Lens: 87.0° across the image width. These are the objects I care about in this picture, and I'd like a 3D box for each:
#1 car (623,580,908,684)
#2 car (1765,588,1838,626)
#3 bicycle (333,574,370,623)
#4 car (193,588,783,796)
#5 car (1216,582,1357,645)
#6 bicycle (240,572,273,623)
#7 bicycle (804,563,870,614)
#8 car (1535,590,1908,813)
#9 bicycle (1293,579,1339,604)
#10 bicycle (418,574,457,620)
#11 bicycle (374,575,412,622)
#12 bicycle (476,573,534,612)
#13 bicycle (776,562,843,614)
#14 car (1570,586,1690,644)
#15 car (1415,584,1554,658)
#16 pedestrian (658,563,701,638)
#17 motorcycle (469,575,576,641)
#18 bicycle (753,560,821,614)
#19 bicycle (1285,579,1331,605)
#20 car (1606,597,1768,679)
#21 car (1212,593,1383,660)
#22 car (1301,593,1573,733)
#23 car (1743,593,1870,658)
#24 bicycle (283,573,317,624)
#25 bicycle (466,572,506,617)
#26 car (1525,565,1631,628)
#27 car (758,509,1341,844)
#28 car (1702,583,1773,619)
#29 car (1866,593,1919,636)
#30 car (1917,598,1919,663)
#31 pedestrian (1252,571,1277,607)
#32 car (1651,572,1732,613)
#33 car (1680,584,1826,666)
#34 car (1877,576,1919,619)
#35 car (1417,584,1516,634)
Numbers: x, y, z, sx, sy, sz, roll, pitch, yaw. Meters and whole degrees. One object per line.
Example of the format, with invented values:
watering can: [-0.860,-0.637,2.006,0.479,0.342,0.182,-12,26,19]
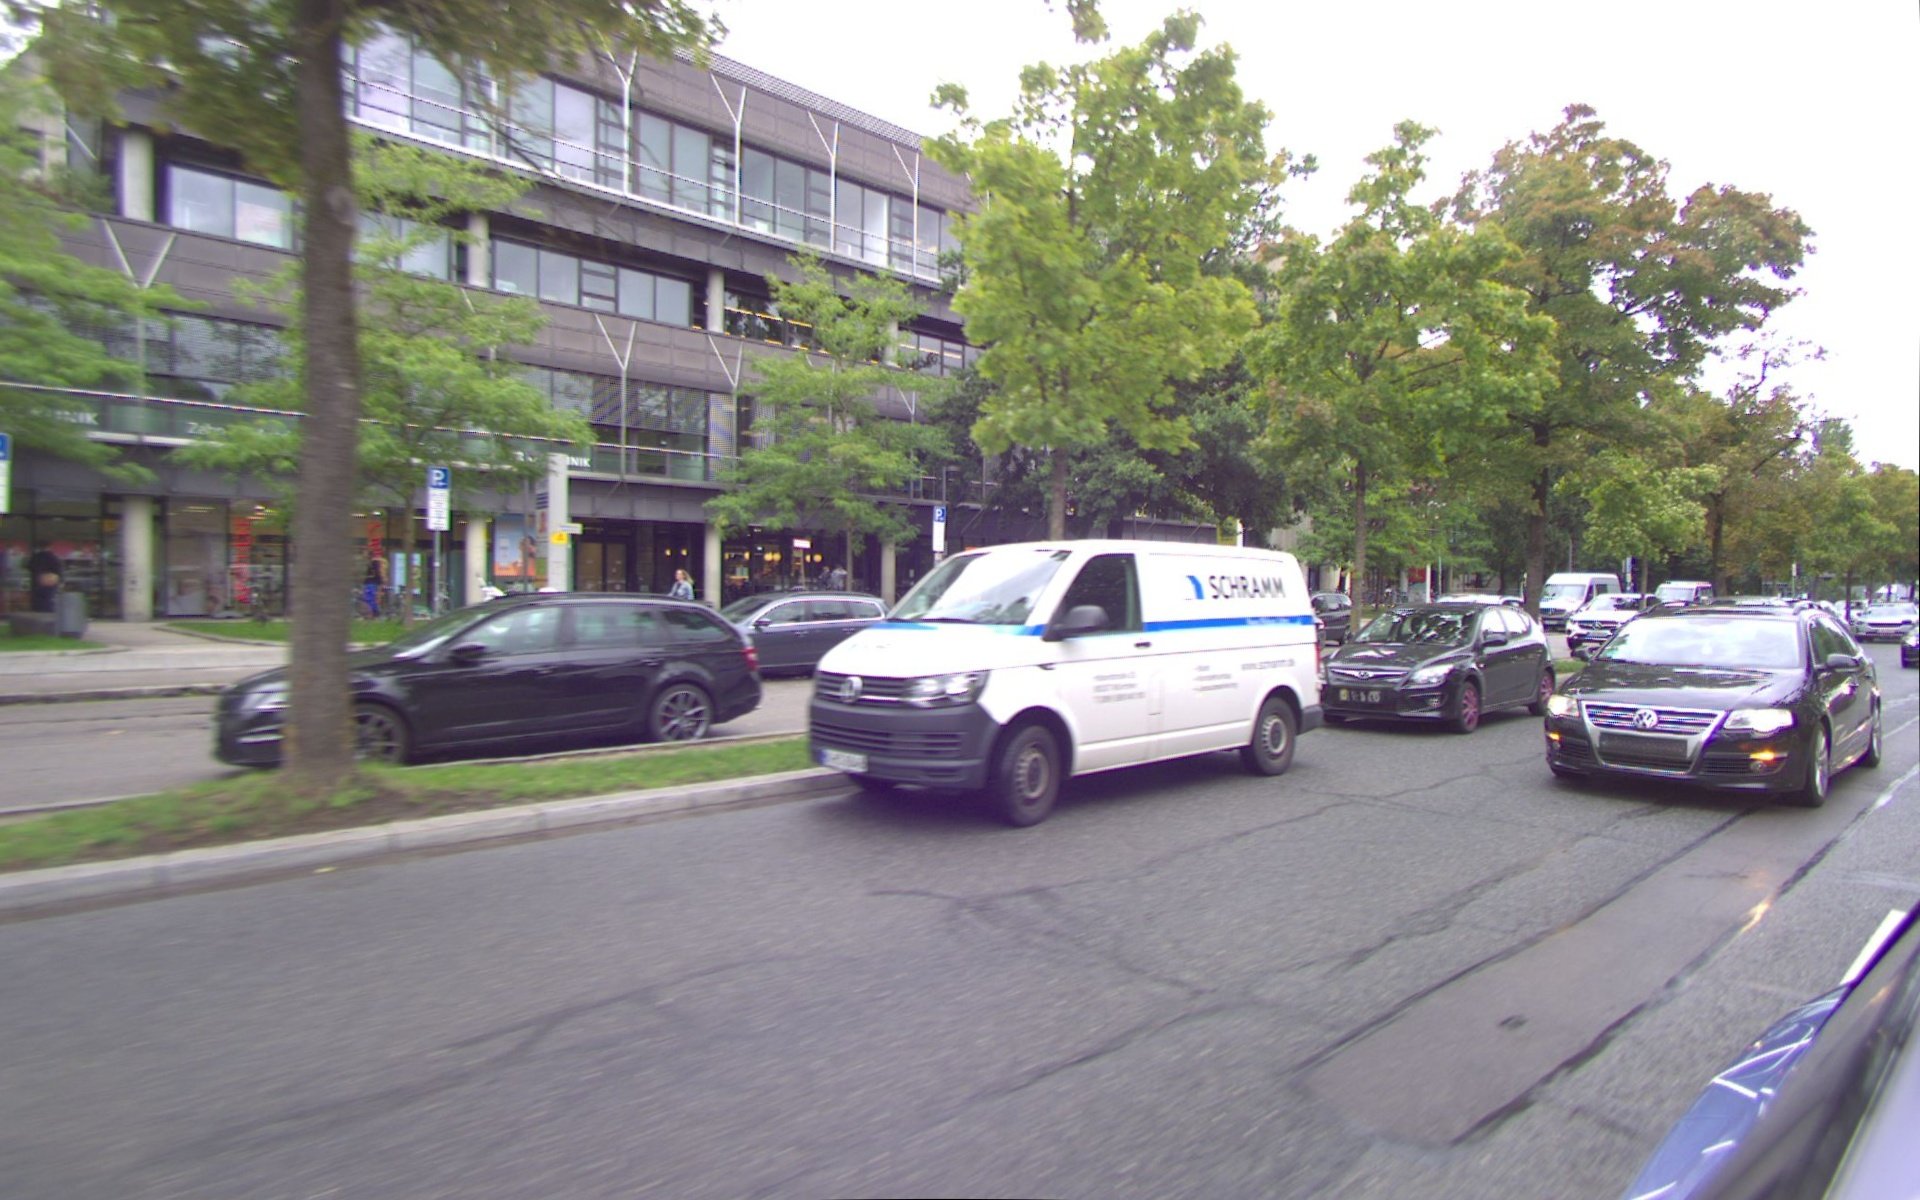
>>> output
car: [-3.275,0.472,17.544,4.519,1.550,1.827,0,2,-39]
car: [37.017,0.295,44.471,3.983,1.562,1.825,0,0,-41]
bicycle: [-14.750,-0.060,24.520,0.447,1.134,2.079,0,1,-40]
car: [-4.061,0.624,9.241,4.610,1.450,1.730,-1,0,-41]
car: [9.414,0.335,29.016,4.422,1.654,1.825,0,2,-41]
bicycle: [-16.355,-0.068,23.514,0.447,1.134,2.079,0,1,-40]
bicycle: [-4.084,-0.407,33.505,2.299,1.643,0.641,1,1,34]
car: [6.691,0.657,8.700,4.365,1.451,1.733,0,0,-42]
bicycle: [18.768,-0.455,53.388,0.637,1.318,2.313,0,1,-38]
bicycle: [-13.481,-0.101,26.099,0.447,1.134,2.079,0,1,-40]
bicycle: [-14.142,-0.060,25.230,0.447,1.134,2.079,0,1,-40]
bicycle: [-13.747,-0.227,30.616,1.529,1.134,0.454,0,1,-45]
bicycle: [-4.861,-0.401,32.657,2.299,1.643,0.641,1,1,34]
car: [19.970,0.411,30.098,4.791,1.611,1.824,0,0,-42]
car: [11.895,0.426,22.859,3.812,1.538,1.652,0,0,-44]
pedestrian: [-6.093,-0.003,21.991,0.657,1.561,0.623,4,3,37]
motorcycle: [-8.789,0.143,20.393,1.914,1.245,0.473,-1,4,-41]
bicycle: [-5.468,-0.424,31.965,2.299,1.643,0.641,1,1,34]
bicycle: [18.184,-0.444,52.901,0.637,1.318,2.313,0,1,-38]
car: [13.899,0.649,19.264,4.011,1.392,1.684,0,0,-42]
car: [7.907,0.559,23.514,4.273,1.397,1.726,0,0,-38]
car: [6.035,0.661,12.601,3.973,1.467,1.698,0,0,-43]
car: [21.818,0.613,26.023,4.385,1.542,1.685,0,-2,-40]
bicycle: [-15.598,-0.058,23.904,0.447,1.134,2.079,0,1,-40]
bicycle: [-12.620,-0.161,26.916,0.447,1.134,2.079,0,1,-40]
car: [27.126,-0.173,44.311,5.754,2.560,2.267,0,1,-40]
car: [0.970,0.440,8.209,4.846,1.952,1.884,0,0,-41]
car: [47.583,0.033,61.919,5.754,2.130,2.267,0,1,-40]
car: [34.814,0.506,37.209,4.365,1.526,1.733,0,0,-42]
car: [23.392,0.658,23.190,4.385,1.431,1.761,0,0,-42]
pedestrian: [14.758,-0.547,49.041,0.755,1.719,0.876,-1,2,-26]
car: [40.002,-0.397,55.317,5.754,2.130,2.267,0,1,-40]
car: [17.759,0.515,22.596,4.386,1.662,1.684,0,-2,-41]
car: [62.453,-0.177,64.681,5.889,2.691,1.980,0,0,-2]
car: [18.402,0.273,36.678,4.270,1.654,1.862,0,2,-44]
